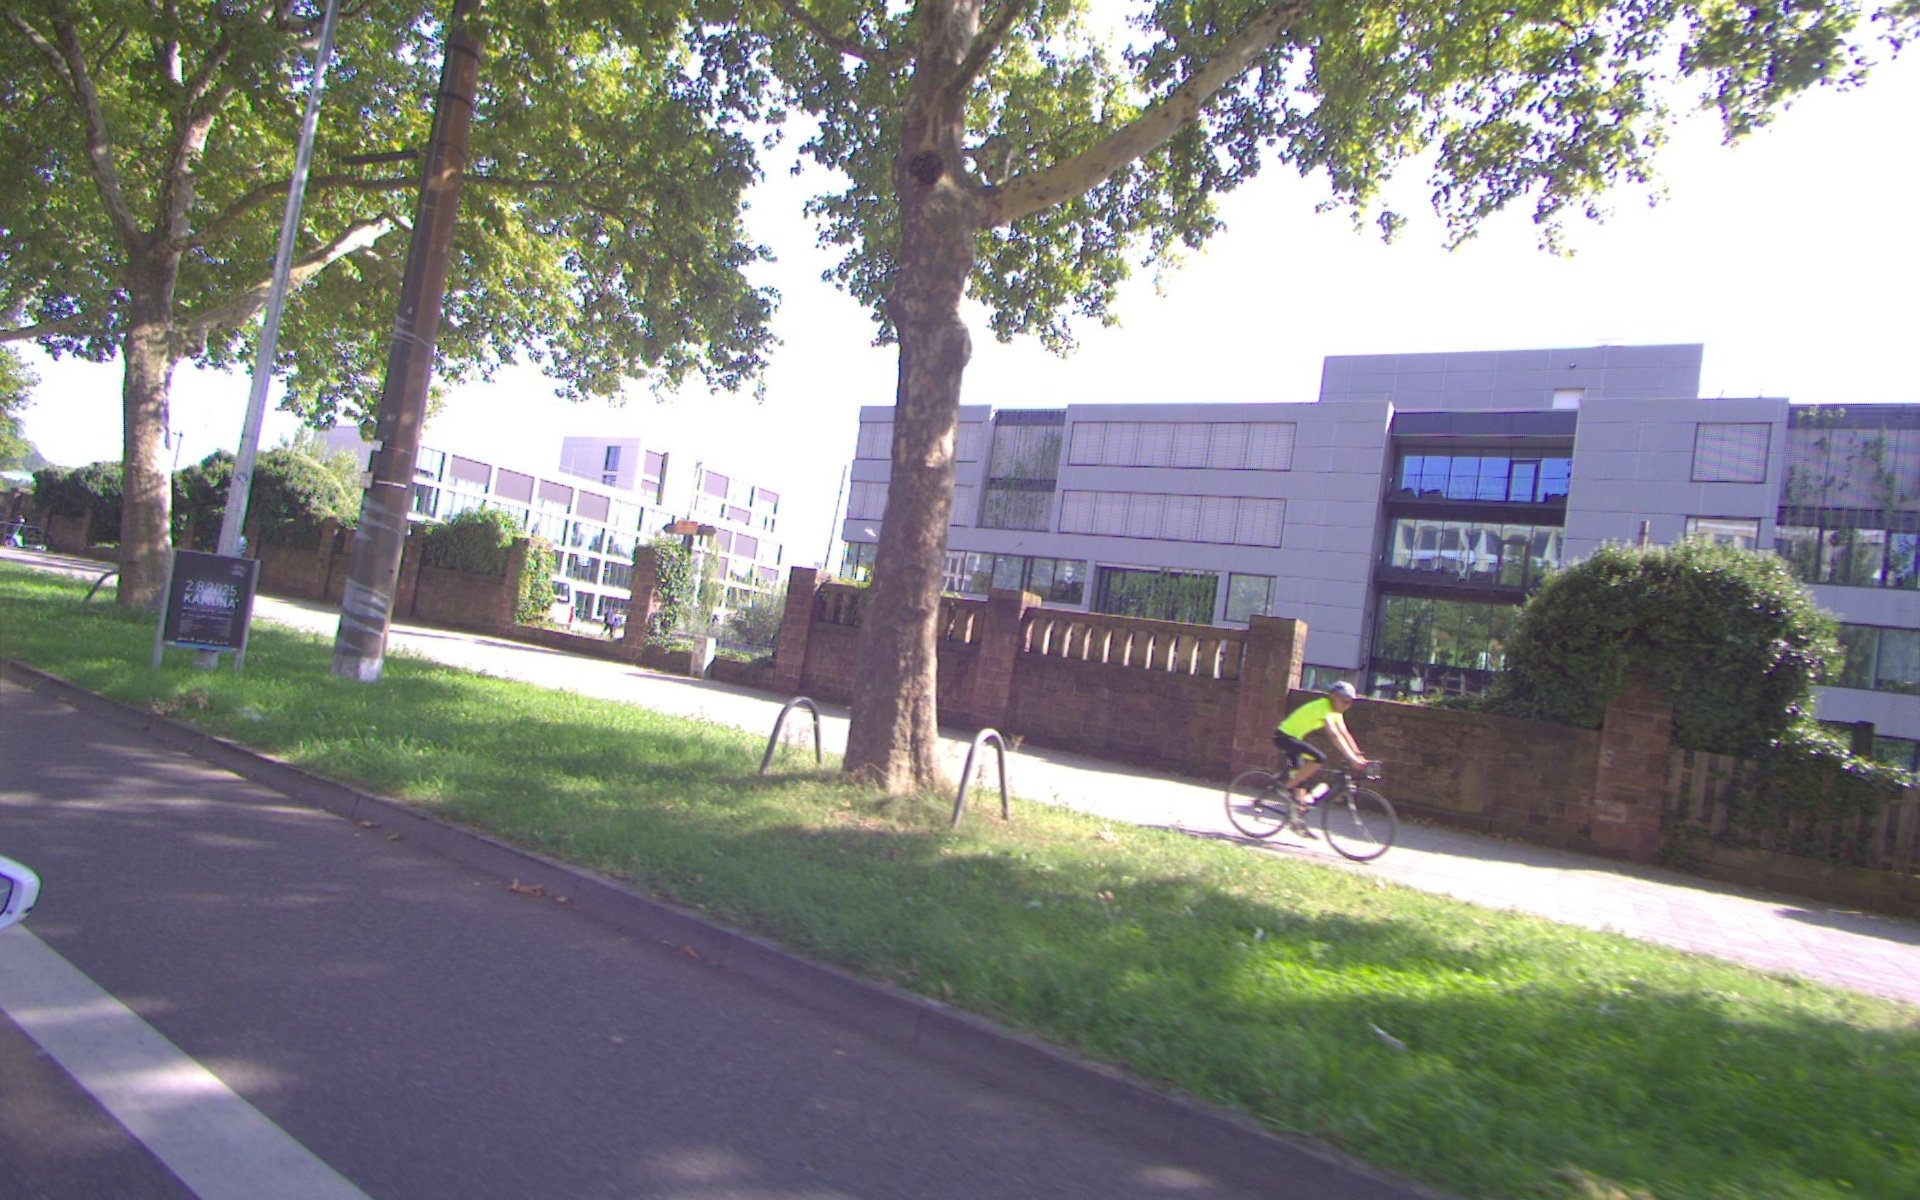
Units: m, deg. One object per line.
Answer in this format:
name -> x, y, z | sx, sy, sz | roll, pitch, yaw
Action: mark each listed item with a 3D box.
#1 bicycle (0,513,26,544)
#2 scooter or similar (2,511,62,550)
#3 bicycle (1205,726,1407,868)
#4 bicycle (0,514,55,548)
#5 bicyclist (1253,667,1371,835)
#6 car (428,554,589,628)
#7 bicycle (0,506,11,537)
bicycle -> -39.123, -3.016, 40.383 | 0.731, 1.088, 2.180 | 7, -3, 30
scooter or similar -> -35.391, -2.645, 38.393 | 0.530, 1.205, 1.507 | 6, -2, 36
bicycle -> 3.373, 1.890, 9.865 | 1.685, 1.018, 0.549 | 7, -2, 32
bicycle -> -36.297, -2.679, 38.796 | 0.722, 1.017, 1.872 | 7, -3, 30
bicyclist -> 3.450, 1.457, 9.866 | 0.828, 1.469, 0.549 | 7, -2, 32
car -> -15.033, -0.247, 33.745 | 1.877, 1.753, 4.534 | 7, -3, 30
bicycle -> -42.537, -3.528, 43.263 | 0.982, 1.292, 2.248 | 6, -2, 31
